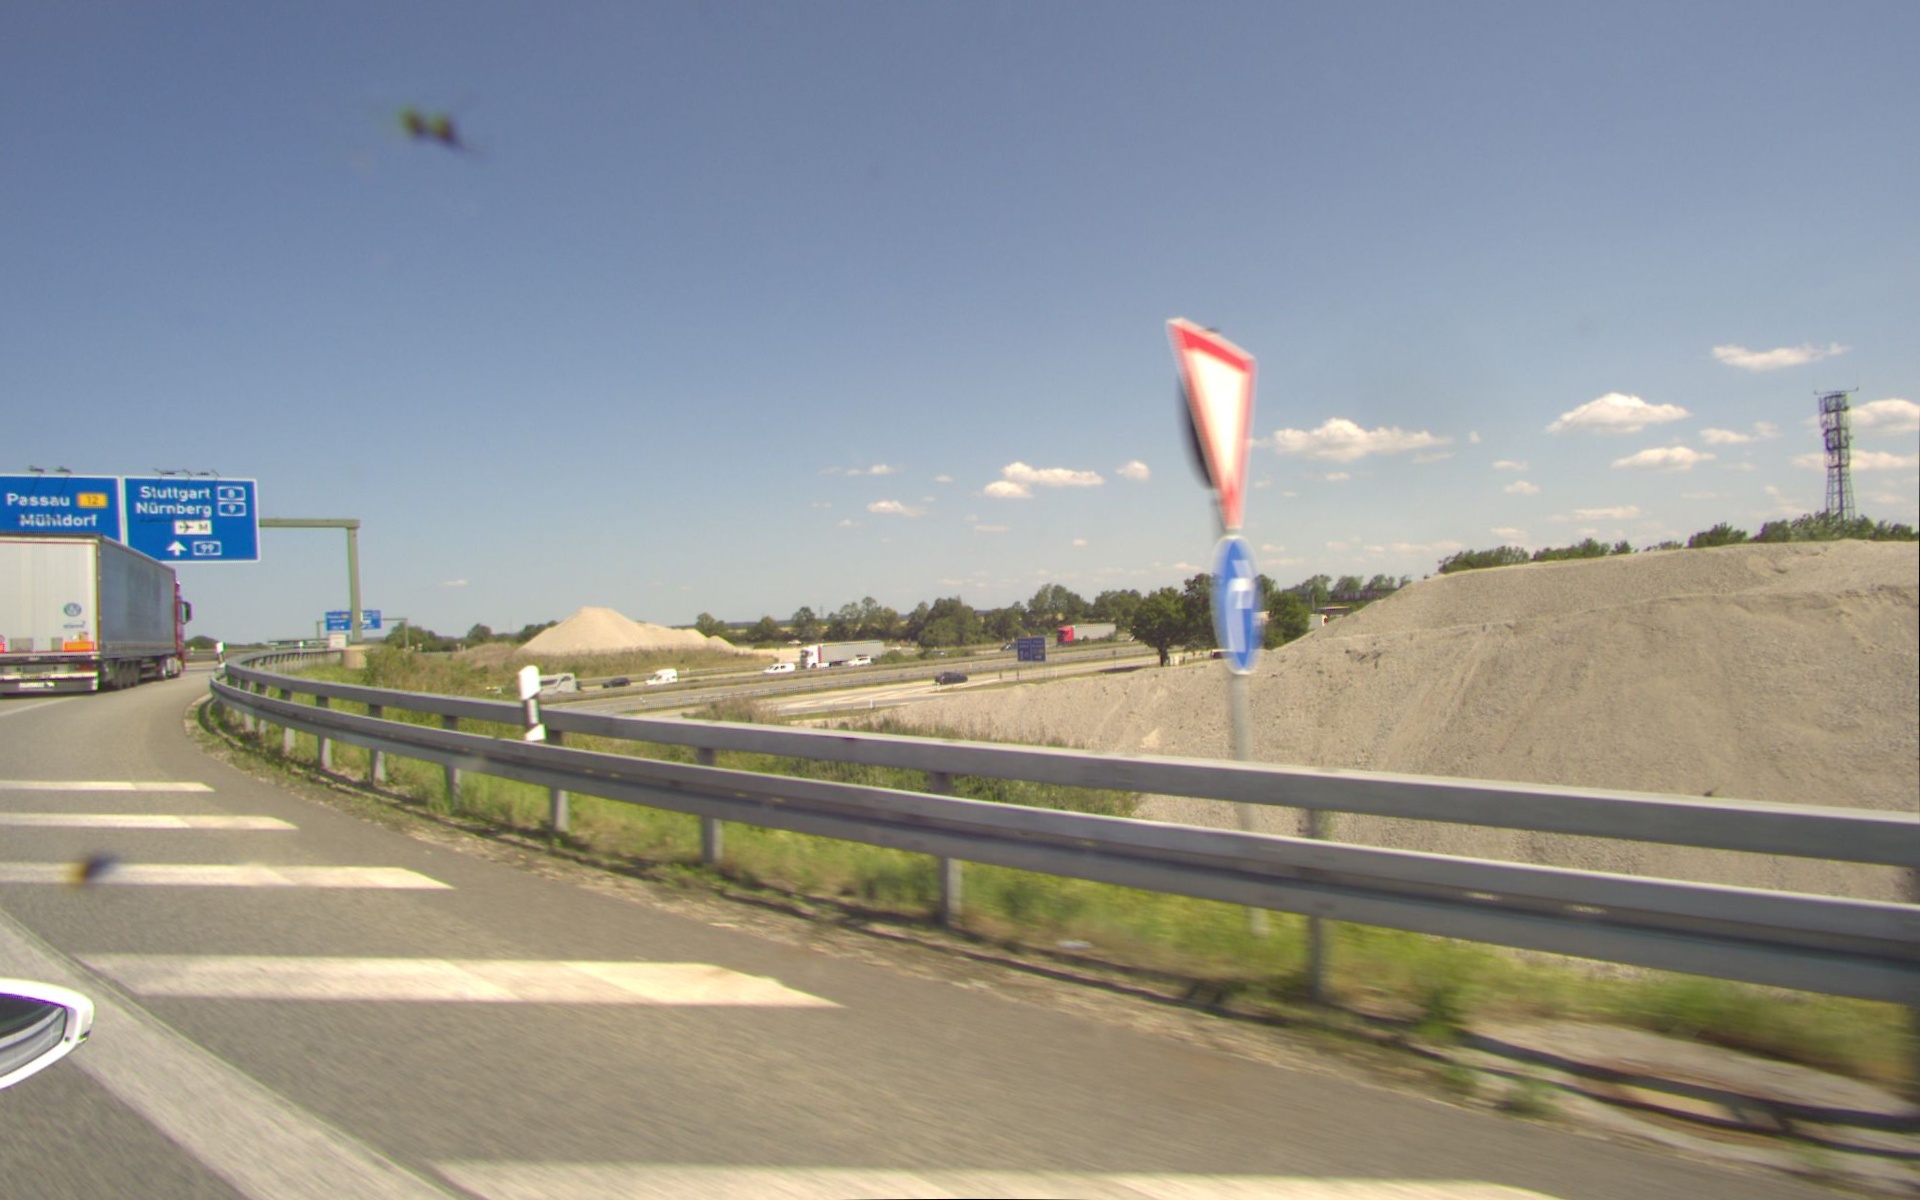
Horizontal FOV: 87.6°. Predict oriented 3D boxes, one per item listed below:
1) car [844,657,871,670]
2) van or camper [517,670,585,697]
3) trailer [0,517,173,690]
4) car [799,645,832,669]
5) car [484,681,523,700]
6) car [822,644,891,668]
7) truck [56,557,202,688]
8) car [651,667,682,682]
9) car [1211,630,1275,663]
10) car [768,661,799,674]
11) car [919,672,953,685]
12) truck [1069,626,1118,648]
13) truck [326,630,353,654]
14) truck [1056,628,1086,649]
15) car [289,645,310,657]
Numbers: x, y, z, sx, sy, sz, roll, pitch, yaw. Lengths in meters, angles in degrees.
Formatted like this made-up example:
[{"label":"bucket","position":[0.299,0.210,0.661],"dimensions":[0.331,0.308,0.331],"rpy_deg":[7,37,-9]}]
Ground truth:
[{"label":"car","position":[-17.767,10.984,173.432],"dimensions":[4.359,2.039,1.985],"rpy_deg":[1,-3,-39]},{"label":"van or camper","position":[-56.638,11.584,138.776],"dimensions":[8.062,3.031,2.965],"rpy_deg":[-2,-4,-39]},{"label":"trailer","position":[-25.714,0.402,29.343],"dimensions":[2.882,4.196,11.201],"rpy_deg":[0,-3,-32]},{"label":"car","position":[-24.792,9.735,171.675],"dimensions":[5.101,4.013,2.464],"rpy_deg":[1,-3,-39]},{"label":"car","position":[-56.256,11.179,123.516],"dimensions":[3.960,2.036,1.863],"rpy_deg":[1,-7,-43]},{"label":"car","position":[-18.263,9.885,177.016],"dimensions":[12.864,4.013,2.464],"rpy_deg":[1,-3,-39]},{"label":"truck","position":[-29.529,0.919,35.906],"dimensions":[2.880,4.196,6.895],"rpy_deg":[0,-3,-30]},{"label":"car","position":[-42.619,10.847,145.349],"dimensions":[3.951,2.039,1.791],"rpy_deg":[1,-2,-36]},{"label":"car","position":[32.413,5.305,114.857],"dimensions":[6.943,3.673,2.001],"rpy_deg":[0,-3,10]},{"label":"car","position":[-27.735,10.577,157.208],"dimensions":[4.359,2.039,1.985],"rpy_deg":[1,-3,-39]},{"label":"car","position":[-3.009,9.840,125.376],"dimensions":[3.964,1.593,1.981],"rpy_deg":[4,-5,-45]},{"label":"truck","position":[29.143,8.052,218.722],"dimensions":[12.432,4.118,2.847],"rpy_deg":[-3,0,-40]},{"label":"truck","position":[-113.852,7.792,183.879],"dimensions":[3.499,4.195,11.210],"rpy_deg":[2,-4,-29]},{"label":"truck","position":[23.734,8.291,214.174],"dimensions":[5.888,4.118,2.847],"rpy_deg":[-3,0,-40]},{"label":"car","position":[-79.382,6.174,120.419],"dimensions":[1.634,1.397,3.985],"rpy_deg":[2,-4,-28]}]
